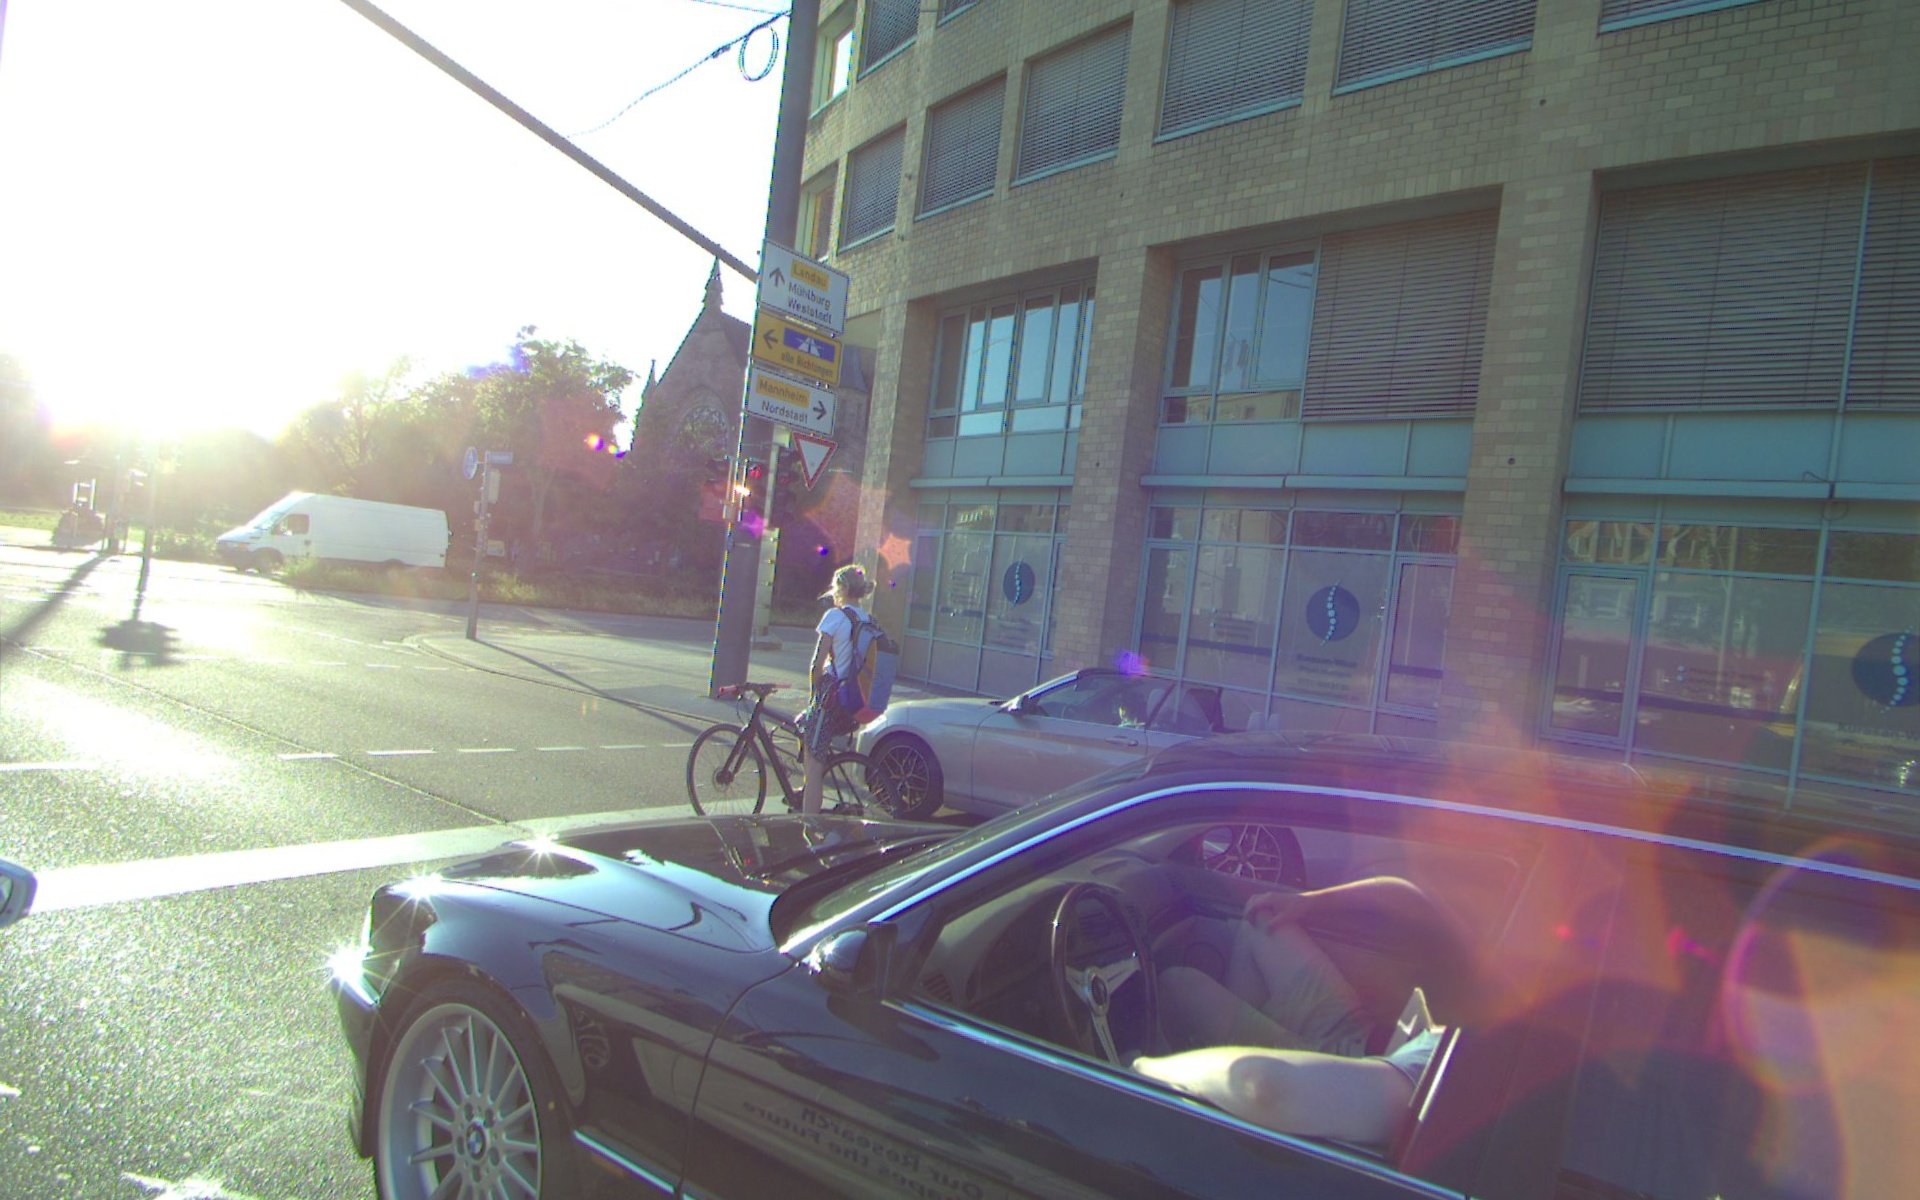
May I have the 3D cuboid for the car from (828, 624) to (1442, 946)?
[{"bbox_3d":[1.222,1.184,7.680,4.158,1.401,1.746,7,-1,32],"label":"car"}]

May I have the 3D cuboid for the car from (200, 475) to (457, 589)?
[{"bbox_3d":[-21.299,-2.192,34.401,2.059,2.862,7.017,7,0,33],"label":"car"}]

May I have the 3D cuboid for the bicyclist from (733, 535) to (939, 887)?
[{"bbox_3d":[-0.714,0.608,5.857,0.764,1.843,0.634,7,1,30],"label":"bicyclist"}]

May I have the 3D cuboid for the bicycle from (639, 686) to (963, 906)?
[{"bbox_3d":[-0.977,1.087,5.986,1.838,0.884,0.634,7,0,30],"label":"bicycle"}]

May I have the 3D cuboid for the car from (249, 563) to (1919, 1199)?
[{"bbox_3d":[0.870,0.933,2.011,4.661,1.402,1.997,7,-1,32],"label":"car"}]
